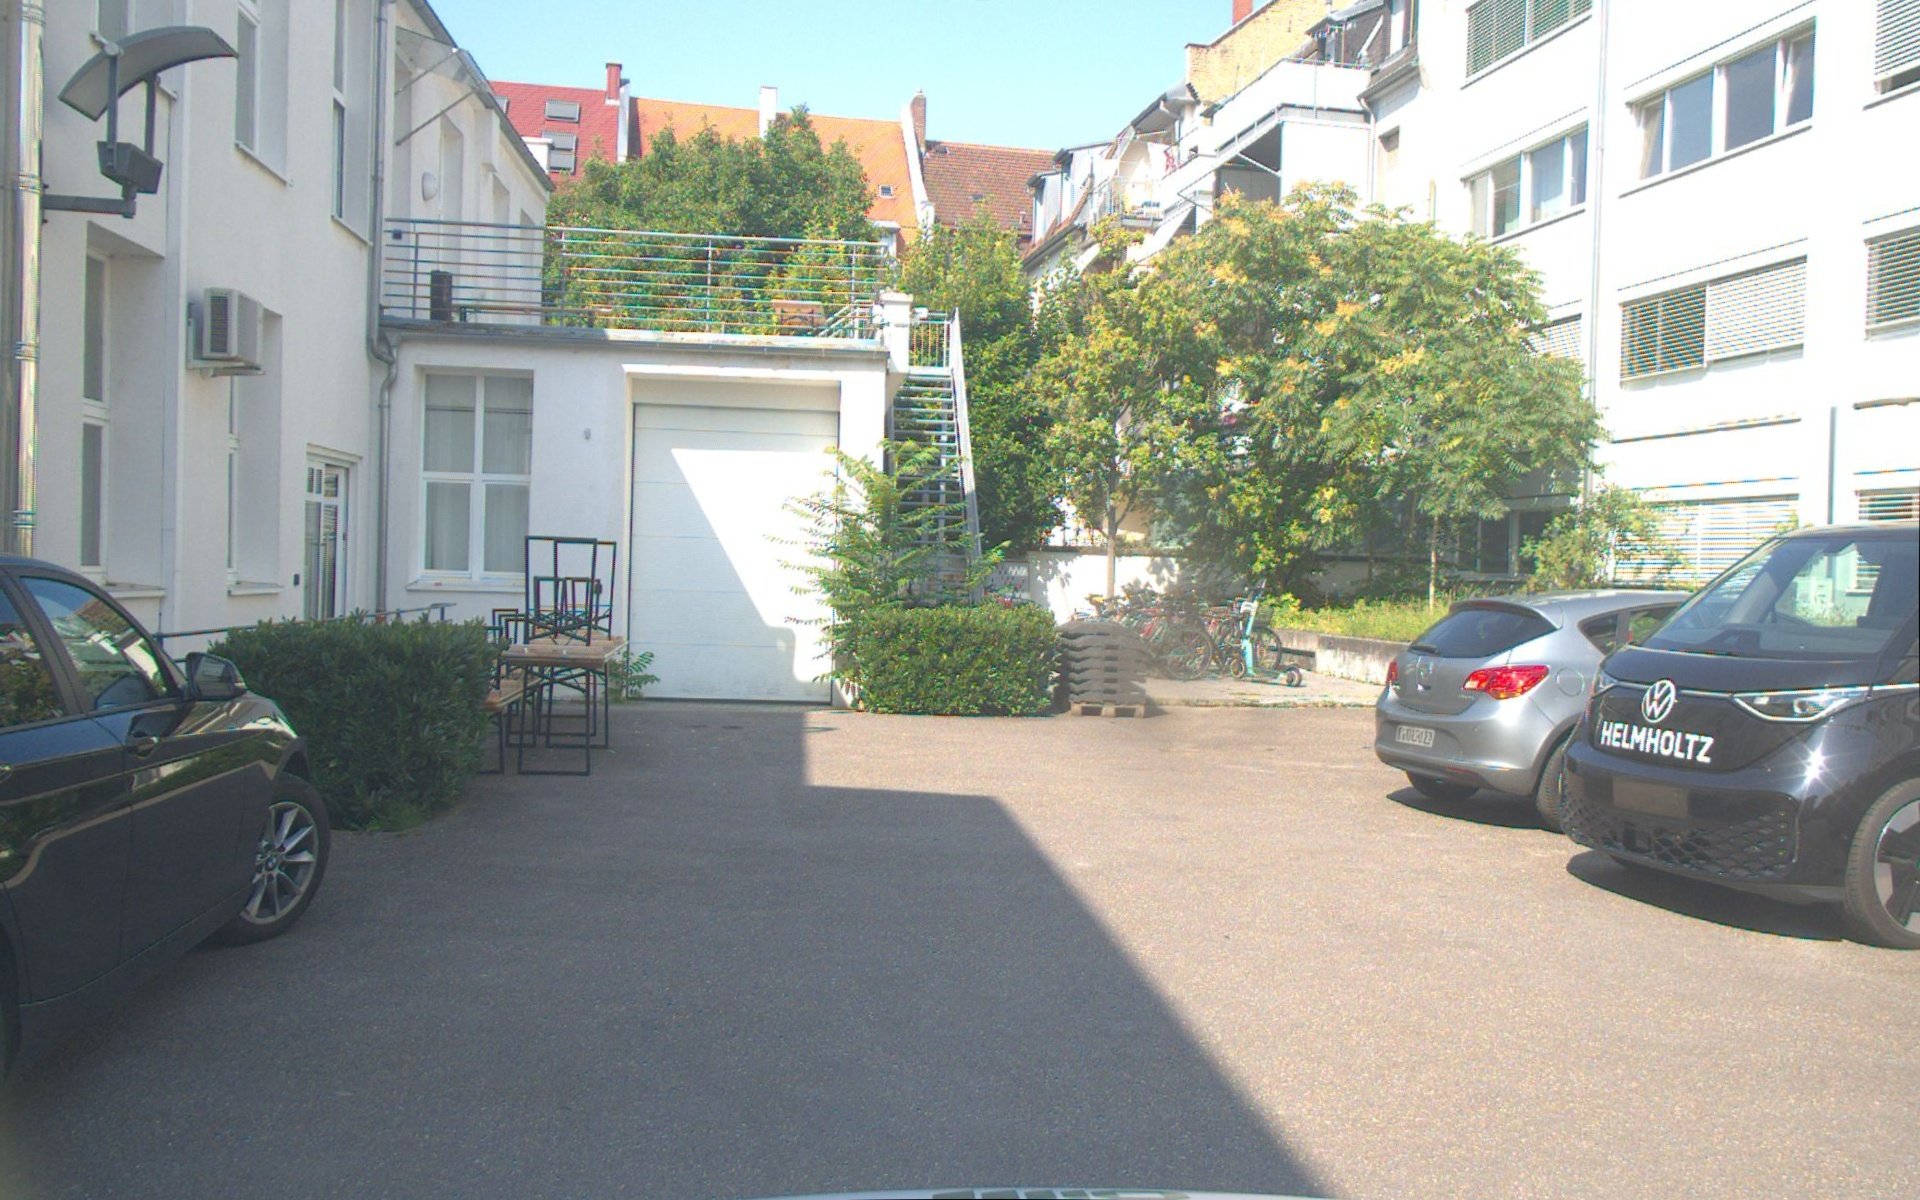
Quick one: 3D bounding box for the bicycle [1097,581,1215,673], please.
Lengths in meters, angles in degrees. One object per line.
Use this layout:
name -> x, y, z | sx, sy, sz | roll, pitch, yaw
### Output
bicycle -> 2.680, 0.360, 22.688 | 1.589, 1.235, 0.327 | 0, 1, 4

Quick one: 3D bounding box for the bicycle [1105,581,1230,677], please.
bicycle -> 2.708, 0.371, 21.621 | 1.591, 1.235, 0.326 | 0, 1, -4

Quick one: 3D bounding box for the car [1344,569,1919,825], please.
car -> 4.745, 0.582, 11.094 | 3.866, 1.508, 1.768 | 1, 0, -15

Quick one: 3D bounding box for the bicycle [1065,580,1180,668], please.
bicycle -> 2.324, 0.340, 23.698 | 1.592, 1.235, 0.423 | 0, 1, -7

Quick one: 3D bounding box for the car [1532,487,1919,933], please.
car -> 5.342, 0.464, 8.257 | 4.425, 1.826, 1.876 | 1, 0, -15

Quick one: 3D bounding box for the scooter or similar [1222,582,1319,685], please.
scooter or similar -> 4.030, 0.416, 21.509 | 0.375, 1.283, 1.331 | 0, 1, -37

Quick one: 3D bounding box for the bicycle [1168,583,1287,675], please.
bicycle -> 3.669, 0.388, 22.688 | 1.588, 1.235, 0.327 | 1, 1, 9

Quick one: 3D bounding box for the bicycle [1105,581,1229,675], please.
bicycle -> 2.743, 0.369, 21.947 | 1.591, 1.235, 0.326 | 0, 1, -4

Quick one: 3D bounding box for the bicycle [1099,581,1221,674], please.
bicycle -> 2.687, 0.364, 22.237 | 1.591, 1.235, 0.326 | 0, 1, -4

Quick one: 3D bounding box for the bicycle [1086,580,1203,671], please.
bicycle -> 2.570, 0.353, 23.043 | 1.588, 1.235, 0.327 | 1, 1, 7

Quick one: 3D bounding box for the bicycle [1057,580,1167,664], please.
bicycle -> 2.286, 0.327, 24.936 | 1.594, 1.235, 0.423 | 0, 1, -11

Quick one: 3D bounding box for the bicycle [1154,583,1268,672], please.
bicycle -> 3.567, 0.377, 23.542 | 1.588, 1.235, 0.424 | 1, 1, 7

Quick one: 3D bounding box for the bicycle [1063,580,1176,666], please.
bicycle -> 2.347, 0.335, 24.337 | 1.594, 1.235, 0.423 | 0, 1, -11

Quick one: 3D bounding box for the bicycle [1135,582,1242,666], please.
bicycle -> 3.461, 0.358, 25.140 | 1.588, 1.235, 0.424 | 1, 1, 7

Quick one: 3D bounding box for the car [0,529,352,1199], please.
car -> -2.925, 0.562, 4.263 | 1.656, 1.484, 3.917 | 2, 1, -7

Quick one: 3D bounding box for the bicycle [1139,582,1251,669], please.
bicycle -> 3.417, 0.367, 24.106 | 1.588, 1.235, 0.424 | 1, 1, 7
